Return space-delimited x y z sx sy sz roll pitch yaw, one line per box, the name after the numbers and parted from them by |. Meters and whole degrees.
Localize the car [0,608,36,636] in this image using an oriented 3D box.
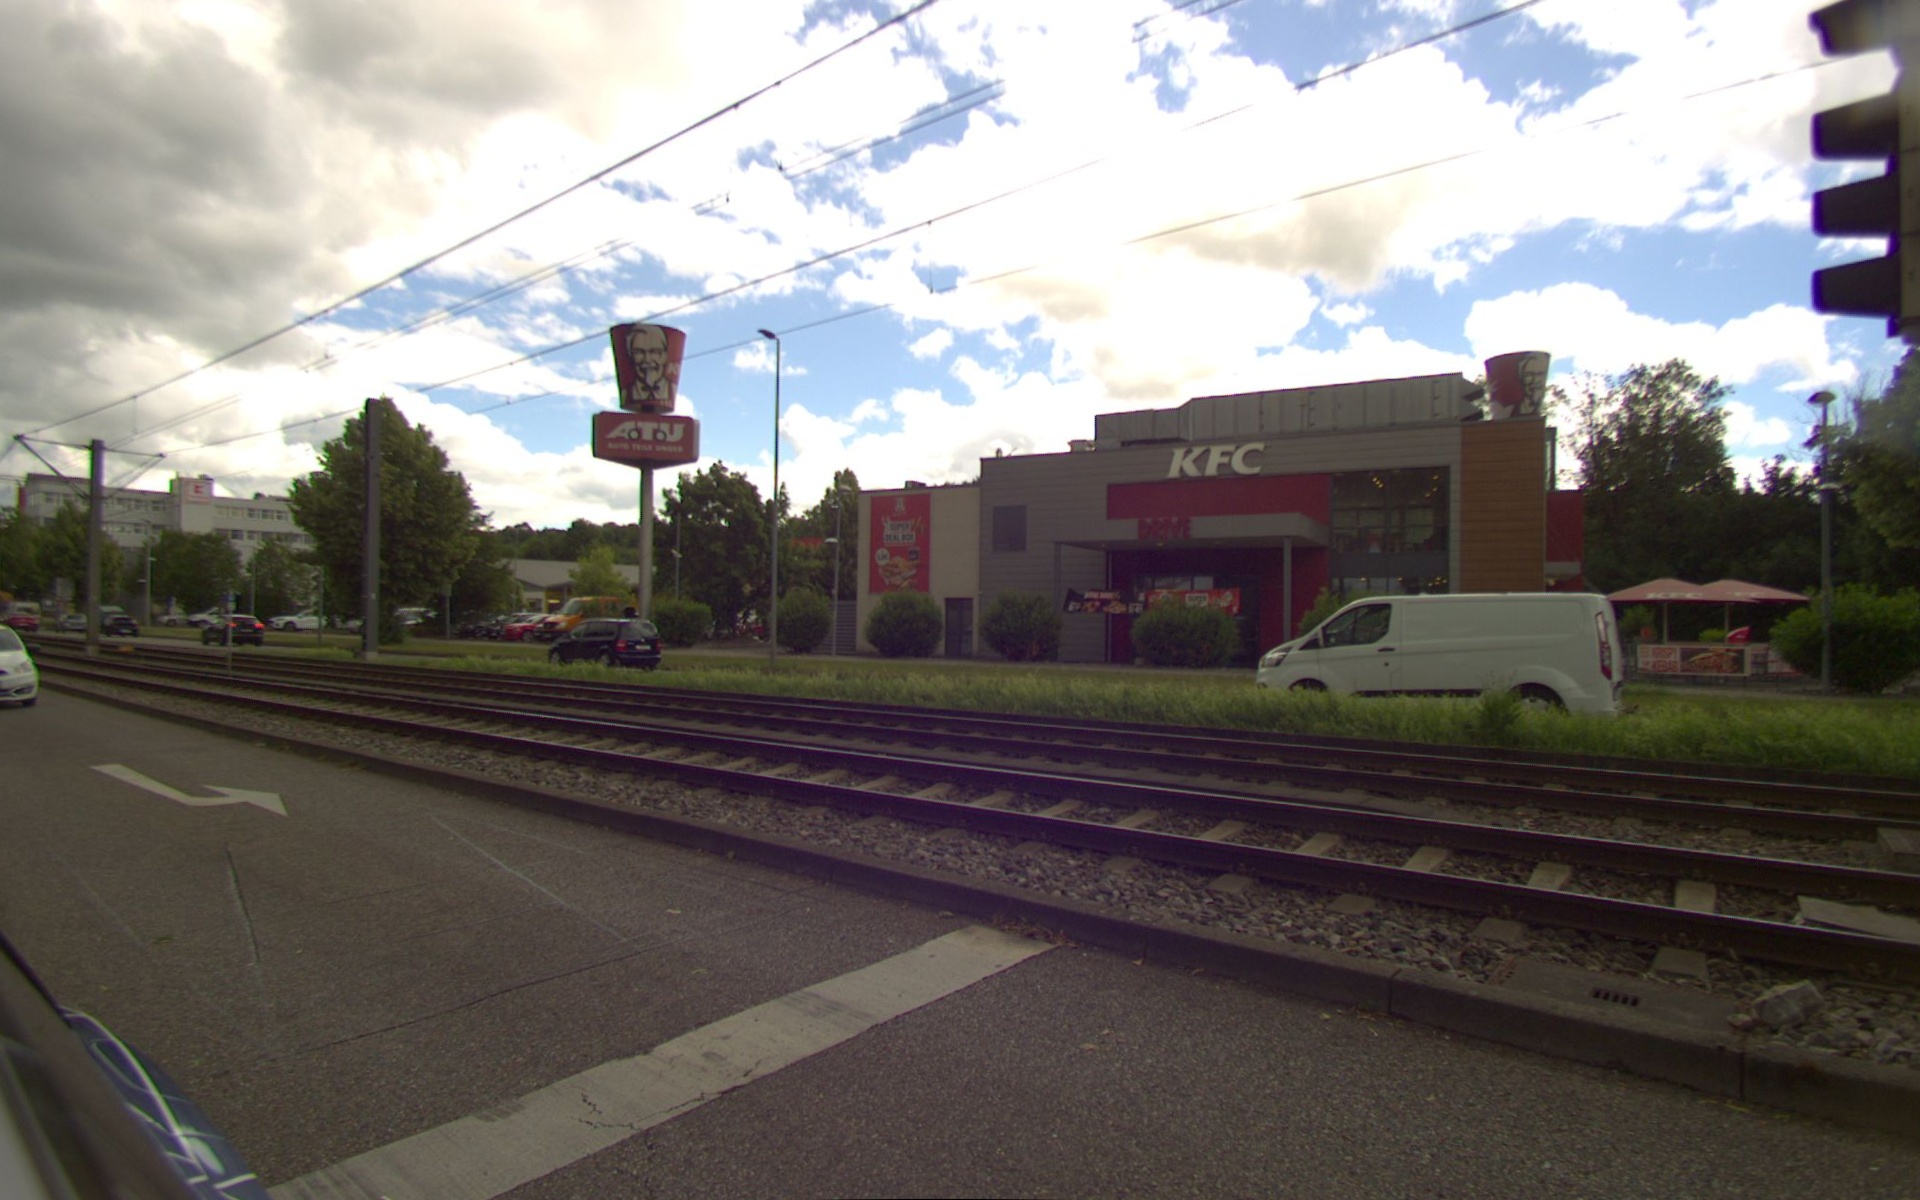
-87.822 2.045 94.116 5.992 2.518 1.850 -1 -3 39 | car

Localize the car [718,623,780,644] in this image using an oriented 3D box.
-14.158 2.270 68.038 1.949 1.400 3.693 -1 -2 37 | car

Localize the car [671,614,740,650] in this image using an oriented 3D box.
-15.637 1.927 62.224 1.949 2.029 3.694 -1 1 37 | car

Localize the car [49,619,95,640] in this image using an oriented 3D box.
-69.303 2.276 79.004 3.995 1.494 1.974 0 -4 39 | car

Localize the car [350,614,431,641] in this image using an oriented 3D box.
-35.309 1.663 62.820 1.935 1.518 3.948 -1 1 39 | car

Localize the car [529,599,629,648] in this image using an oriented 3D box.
-18.119 1.069 48.278 2.056 2.182 3.948 -1 1 39 | car

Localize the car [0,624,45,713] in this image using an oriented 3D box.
-18.049 1.213 18.131 3.994 1.455 1.765 -1 1 38 | car

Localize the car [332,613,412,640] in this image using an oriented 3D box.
-37.488 1.653 64.610 2.000 1.518 3.948 -1 1 39 | car

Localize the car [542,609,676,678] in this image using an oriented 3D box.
-11.084 1.321 31.881 4.098 2.029 1.976 -1 -2 36 | car

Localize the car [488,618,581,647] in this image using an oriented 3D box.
-21.805 1.638 52.001 1.998 1.245 3.948 -1 1 39 | car

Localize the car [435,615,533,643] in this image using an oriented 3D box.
-25.964 1.557 55.305 2.193 1.364 4.331 -1 1 39 | car

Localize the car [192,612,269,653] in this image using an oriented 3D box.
-37.950 1.669 52.645 4.238 2.029 1.976 -1 -2 36 | car

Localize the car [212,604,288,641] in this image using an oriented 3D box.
-55.944 1.762 79.801 2.286 2.769 4.425 0 -3 39 | car

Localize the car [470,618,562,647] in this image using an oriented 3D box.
-23.622 1.703 53.907 2.091 1.377 3.948 -1 1 39 | car

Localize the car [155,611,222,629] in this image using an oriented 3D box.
-70.215 1.780 92.113 2.000 1.504 4.551 0 1 43 | car

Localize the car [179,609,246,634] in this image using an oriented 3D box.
-63.251 1.783 85.678 2.000 1.933 4.298 0 1 43 | car

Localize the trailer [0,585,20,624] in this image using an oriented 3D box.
-103.997 0.519 108.548 14.413 3.927 2.644 0 -3 40 | trailer

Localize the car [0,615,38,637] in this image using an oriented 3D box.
-71.975 1.982 77.024 4.474 1.594 1.767 0 -3 36 | car

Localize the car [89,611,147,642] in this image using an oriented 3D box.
-56.952 1.792 68.432 3.991 2.029 1.976 -1 -3 36 | car

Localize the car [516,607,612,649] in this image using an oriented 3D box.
-19.630 1.349 50.256 1.998 1.932 3.948 -1 1 39 | car

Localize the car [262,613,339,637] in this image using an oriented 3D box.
-48.369 1.802 74.297 1.792 1.518 4.430 -1 1 36 | car

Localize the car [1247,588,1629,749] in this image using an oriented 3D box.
6.966 0.920 14.988 4.872 2.029 1.977 -1 -2 34 | car
